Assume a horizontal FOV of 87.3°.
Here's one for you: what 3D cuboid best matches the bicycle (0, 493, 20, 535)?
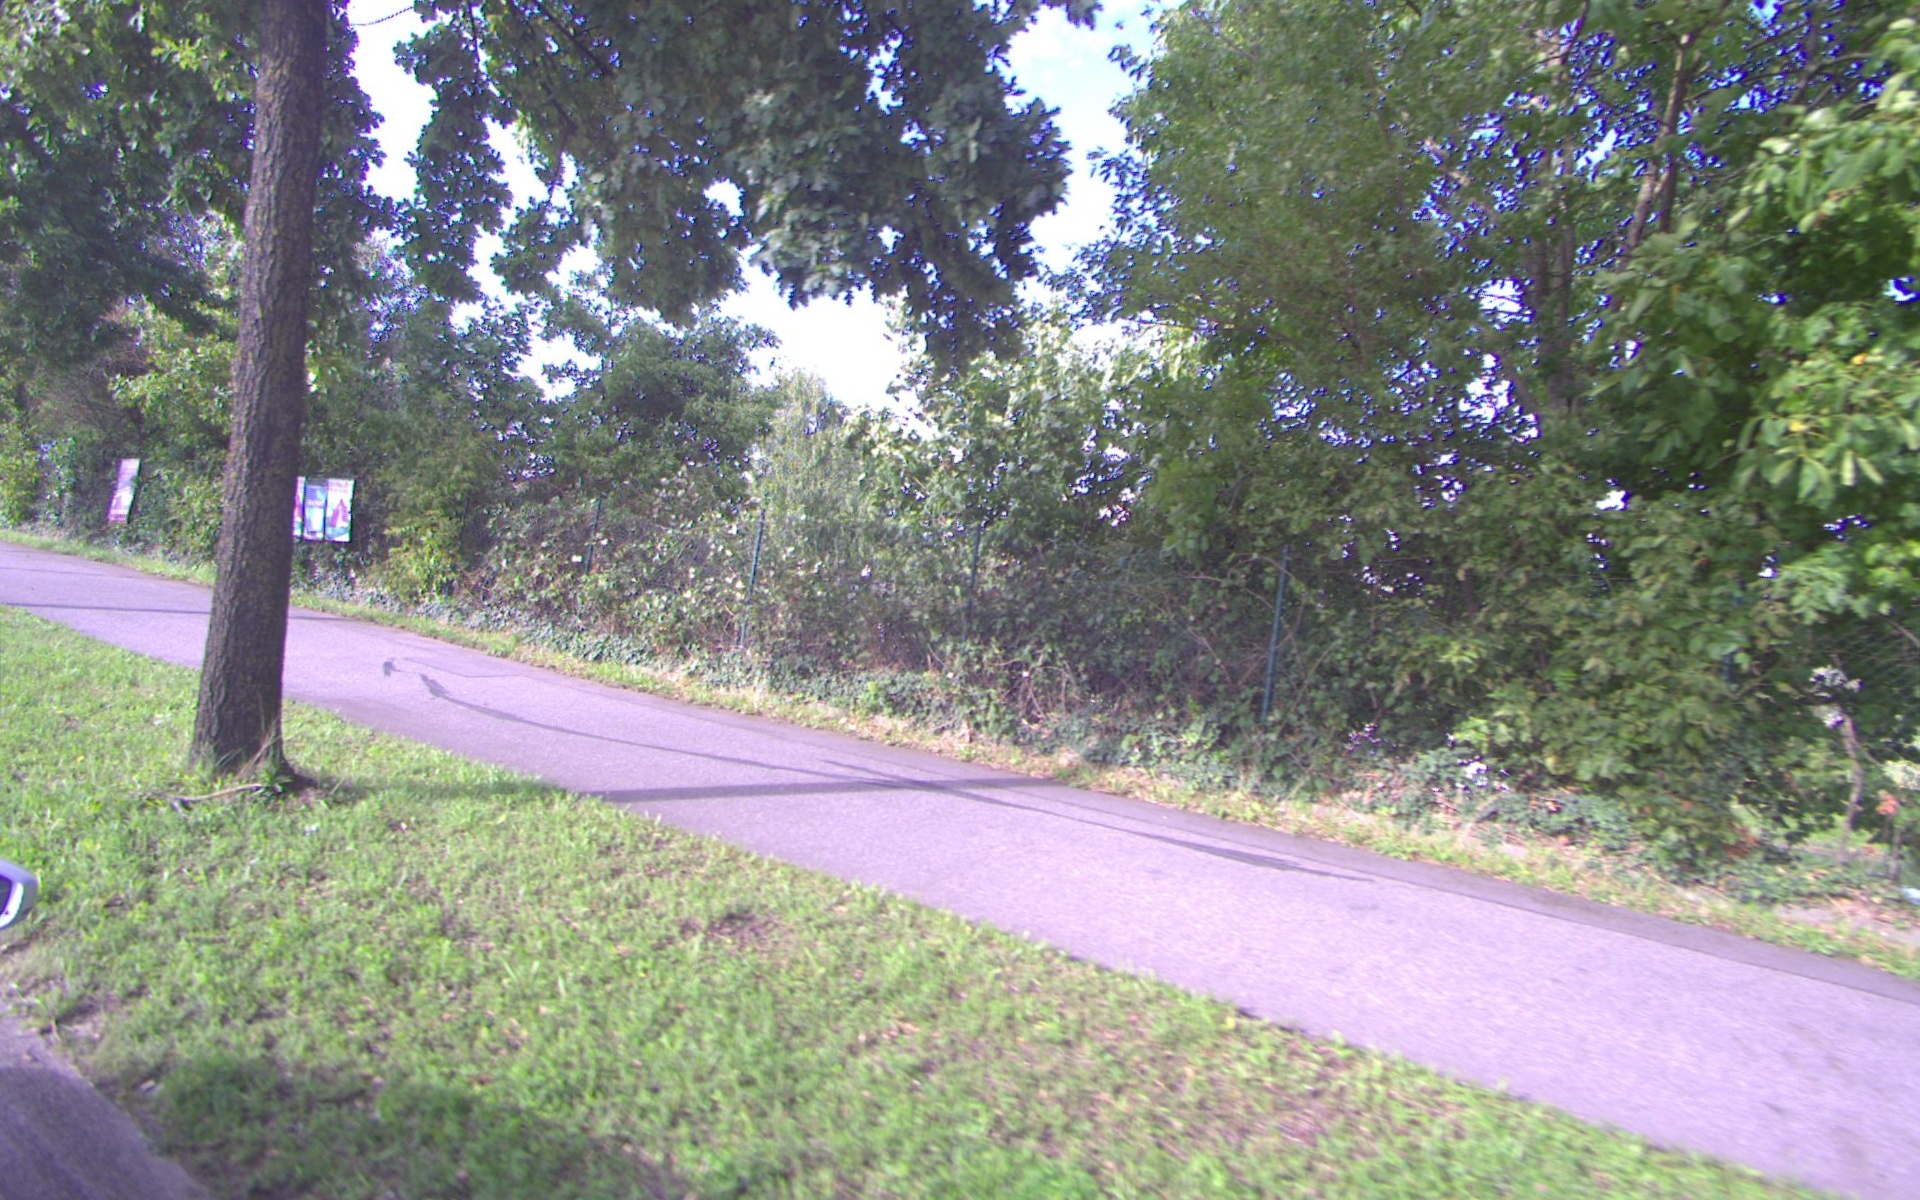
[{"bbox_3d":[-30.110,-2.738,30.936,0.482,1.232,1.622,7,0,31],"label":"bicycle"}]

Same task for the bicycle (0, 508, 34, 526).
[{"bbox_3d":[-27.300,-2.427,27.879,2.529,0.390,1.411,7,0,20],"label":"bicycle"}]

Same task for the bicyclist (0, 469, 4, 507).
[{"bbox_3d":[-30.062,-3.252,30.905,0.526,1.669,0.769,9,2,31],"label":"bicyclist"}]
